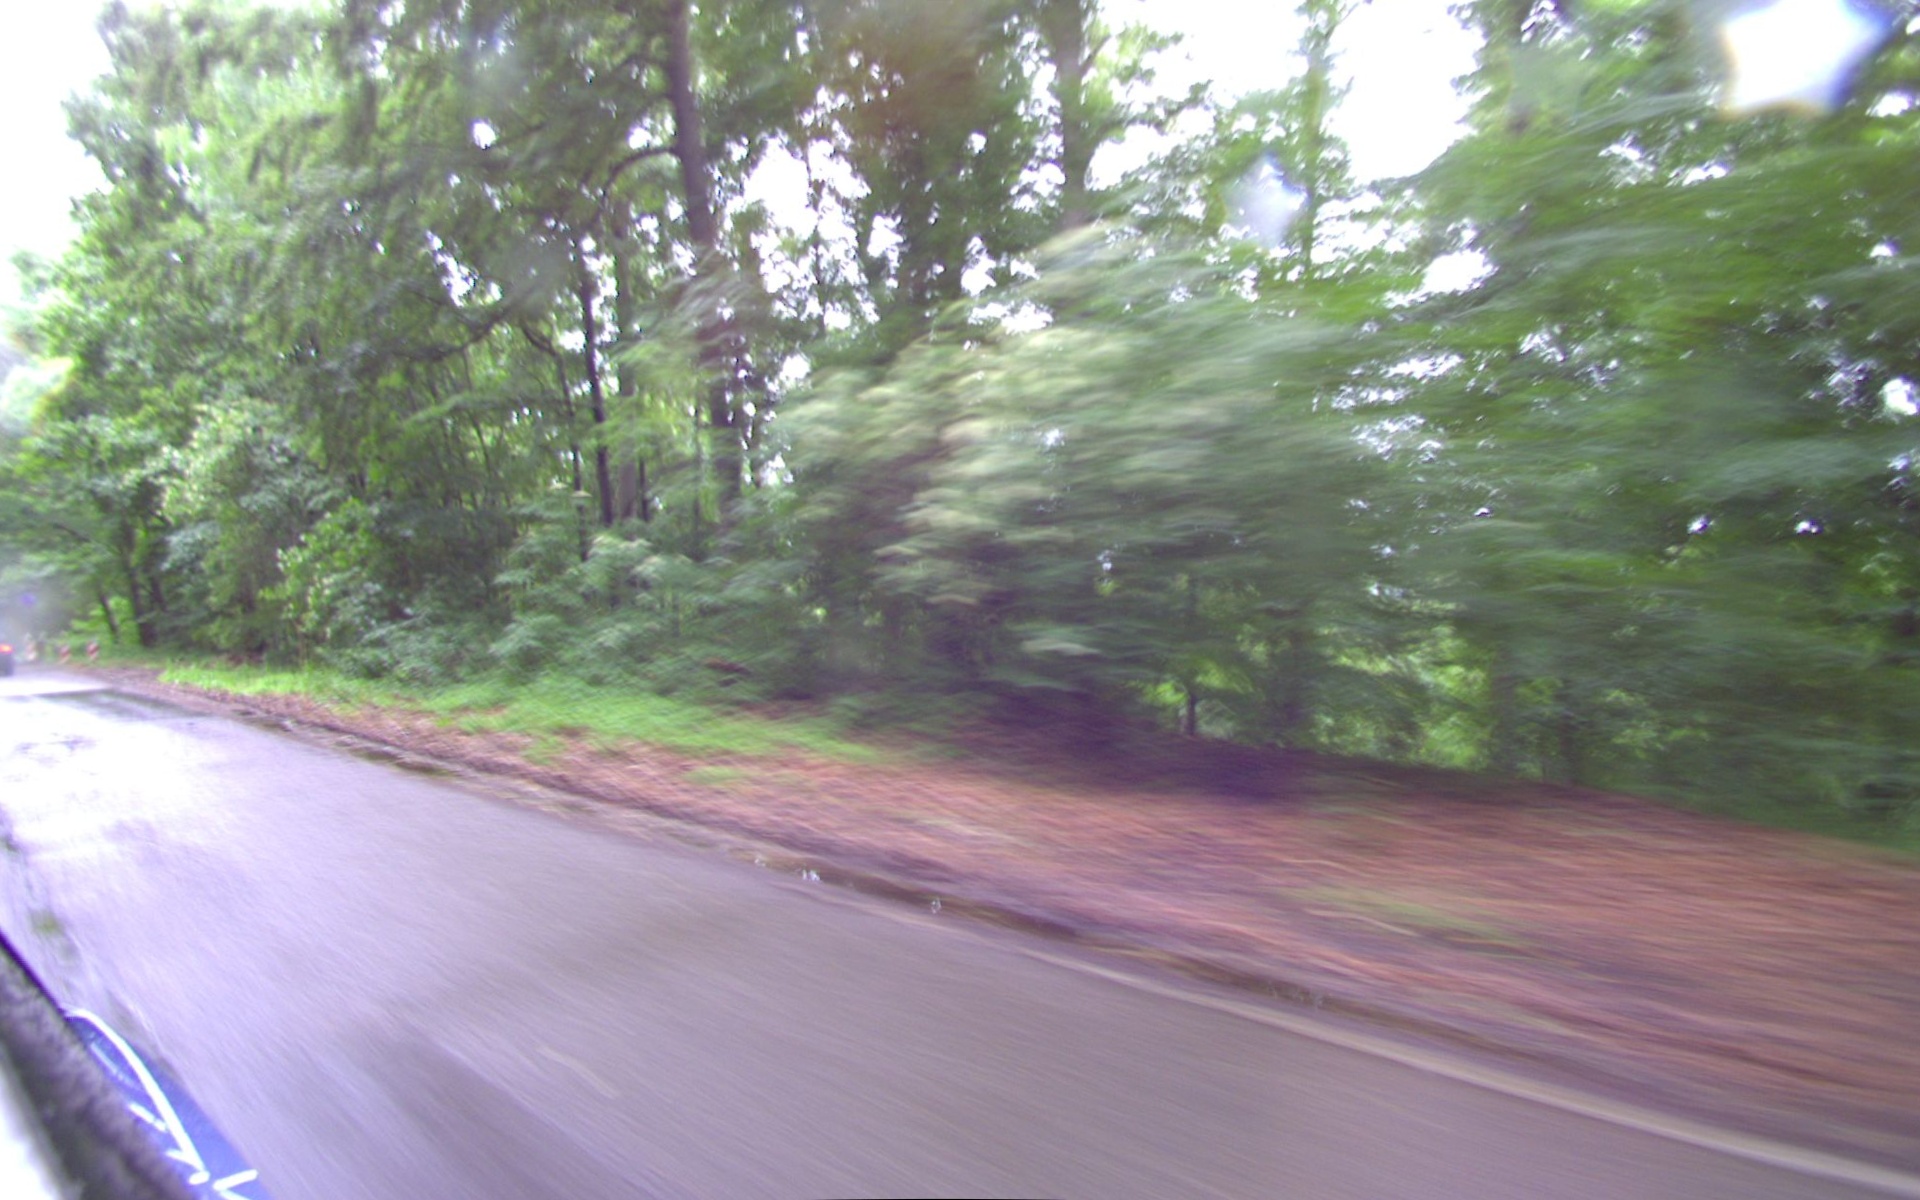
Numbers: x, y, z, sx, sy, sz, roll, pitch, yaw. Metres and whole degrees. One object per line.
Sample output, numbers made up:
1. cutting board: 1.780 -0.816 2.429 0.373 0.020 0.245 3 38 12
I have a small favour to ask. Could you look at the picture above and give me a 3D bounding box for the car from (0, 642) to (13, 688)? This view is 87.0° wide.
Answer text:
1. car: -33.418 2.261 33.998 3.885 1.486 1.698 -3 2 38
